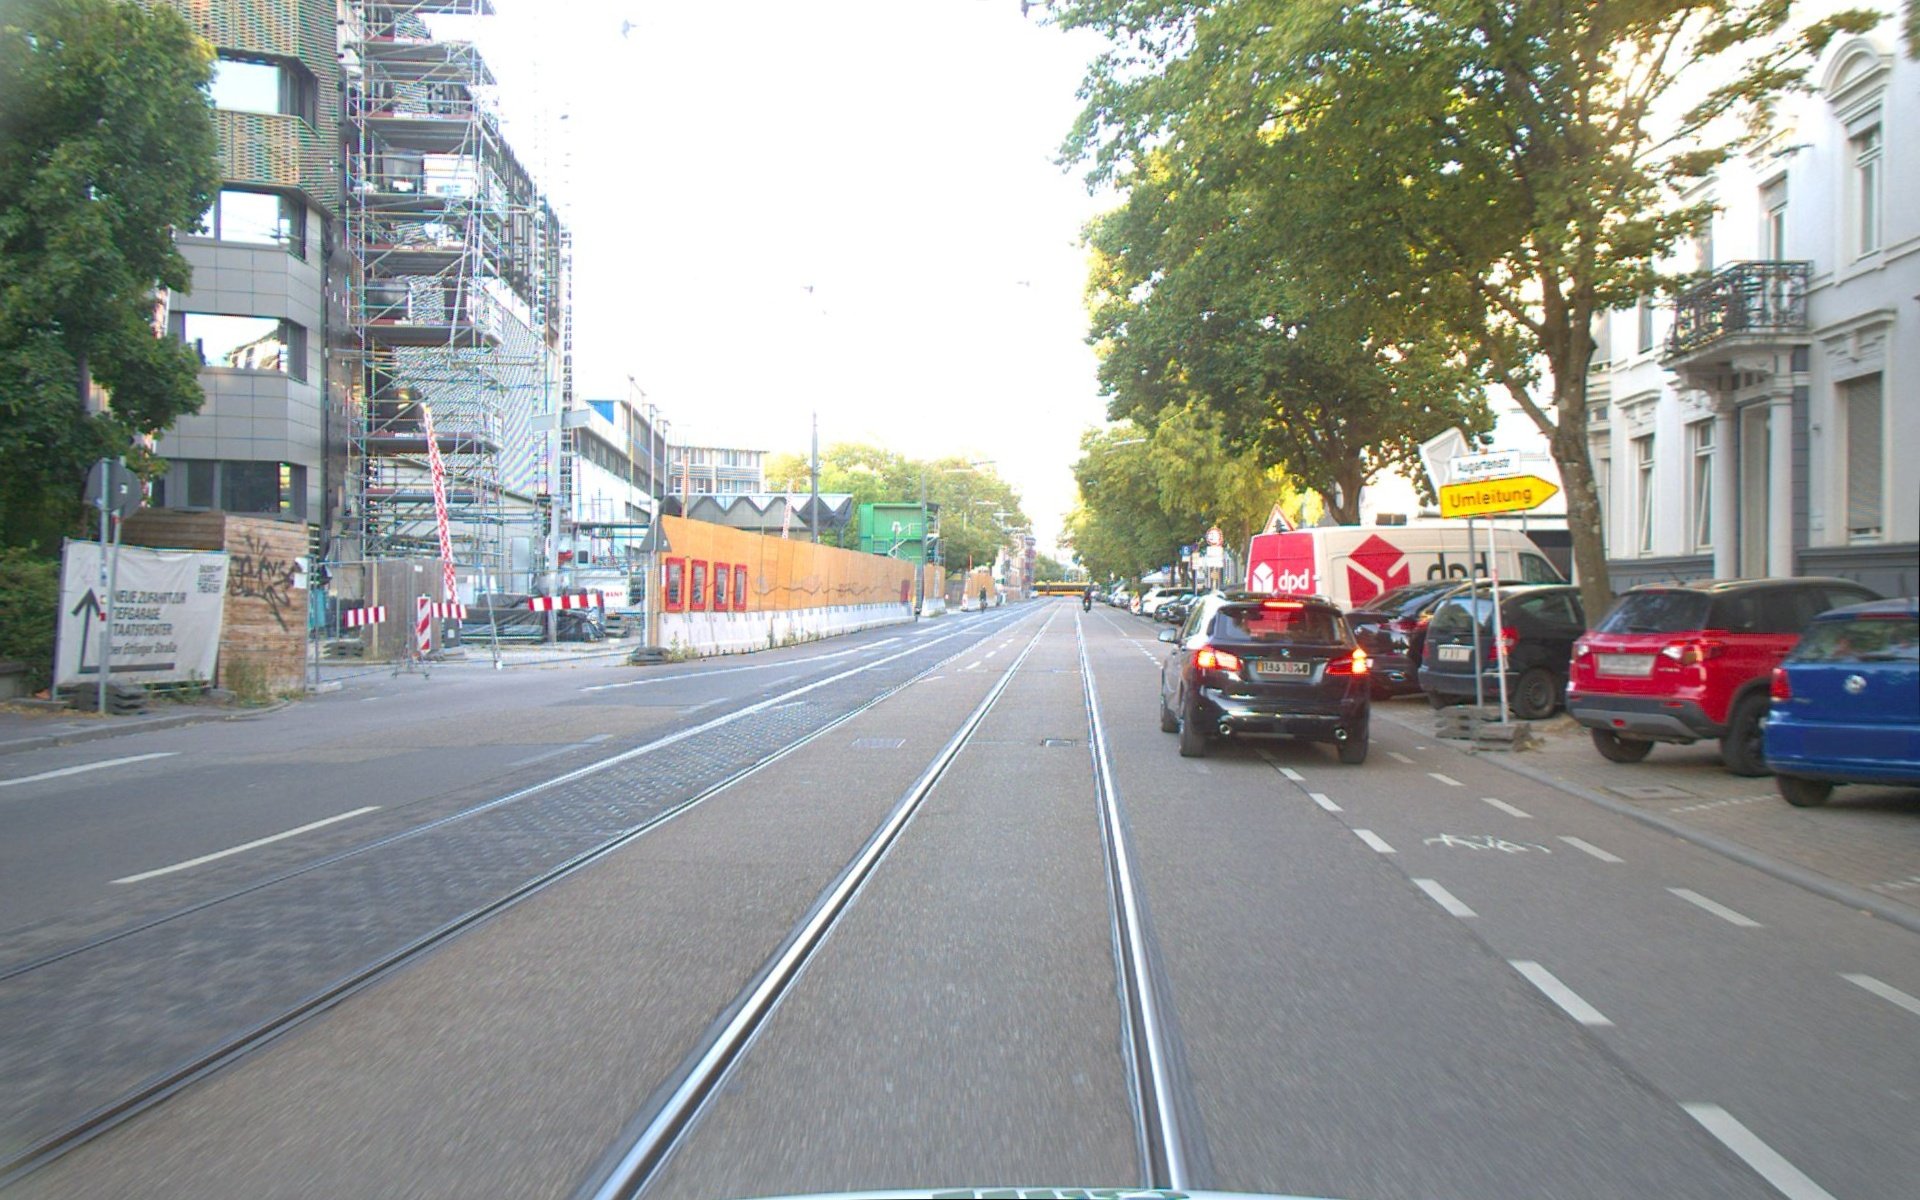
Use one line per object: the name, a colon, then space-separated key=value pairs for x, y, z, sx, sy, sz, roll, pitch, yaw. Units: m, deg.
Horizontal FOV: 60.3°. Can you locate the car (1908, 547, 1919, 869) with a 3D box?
car: x=6.972 y=0.521 z=8.551 sx=3.897 sy=1.631 sz=1.823 roll=-1 pitch=0 yaw=-28

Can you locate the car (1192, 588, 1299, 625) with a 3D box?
car: x=11.346 y=0.230 z=65.774 sx=3.872 sy=1.430 sz=1.630 roll=0 pitch=0 yaw=-12

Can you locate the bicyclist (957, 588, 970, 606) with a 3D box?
bicyclist: x=0.268 y=-0.252 z=128.795 sx=0.925 sy=1.369 sz=1.112 roll=0 pitch=0 yaw=1

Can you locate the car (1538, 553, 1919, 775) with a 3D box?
car: x=7.369 y=0.481 z=14.804 sx=3.889 sy=1.631 sz=1.828 roll=-3 pitch=0 yaw=-23

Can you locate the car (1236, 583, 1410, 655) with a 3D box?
car: x=8.027 y=0.407 z=36.486 sx=3.738 sy=1.332 sz=1.635 roll=-4 pitch=1 yaw=-35

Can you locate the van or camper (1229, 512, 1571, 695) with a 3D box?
van or camper: x=7.178 y=-0.001 z=26.768 sx=5.477 sy=2.574 sz=2.065 roll=-3 pitch=0 yaw=-31

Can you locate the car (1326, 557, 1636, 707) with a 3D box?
car: x=7.376 y=0.416 z=23.426 sx=3.889 sy=1.796 sz=1.828 roll=-3 pitch=0 yaw=-23

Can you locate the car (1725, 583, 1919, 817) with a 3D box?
car: x=7.352 y=0.604 z=11.854 sx=3.603 sy=1.470 sz=1.642 roll=-2 pitch=-1 yaw=-31

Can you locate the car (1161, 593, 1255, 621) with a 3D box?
car: x=11.051 y=0.312 z=73.726 sx=3.872 sy=1.195 sz=1.630 roll=0 pitch=0 yaw=-12

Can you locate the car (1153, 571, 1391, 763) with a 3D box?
car: x=3.040 y=0.579 z=16.896 sx=1.842 sy=1.648 sz=4.002 roll=2 pitch=1 yaw=3

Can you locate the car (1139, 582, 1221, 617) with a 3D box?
car: x=11.287 y=-0.046 z=84.861 sx=3.870 sy=1.752 sz=1.631 roll=0 pitch=0 yaw=-10

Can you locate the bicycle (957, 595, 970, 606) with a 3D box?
bicycle: x=0.289 y=0.020 z=129.590 sx=0.928 sy=0.864 sz=2.697 roll=0 pitch=0 yaw=1

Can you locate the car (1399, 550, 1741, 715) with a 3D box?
car: x=7.829 y=0.374 z=21.254 sx=3.889 sy=1.796 sz=1.828 roll=-3 pitch=0 yaw=-23

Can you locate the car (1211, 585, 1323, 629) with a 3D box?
car: x=11.631 y=0.242 z=62.749 sx=3.872 sy=1.606 sz=1.630 roll=0 pitch=0 yaw=-12

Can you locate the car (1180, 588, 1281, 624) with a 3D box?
car: x=11.261 y=0.235 z=68.973 sx=3.872 sy=1.430 sz=1.630 roll=0 pitch=0 yaw=-12
